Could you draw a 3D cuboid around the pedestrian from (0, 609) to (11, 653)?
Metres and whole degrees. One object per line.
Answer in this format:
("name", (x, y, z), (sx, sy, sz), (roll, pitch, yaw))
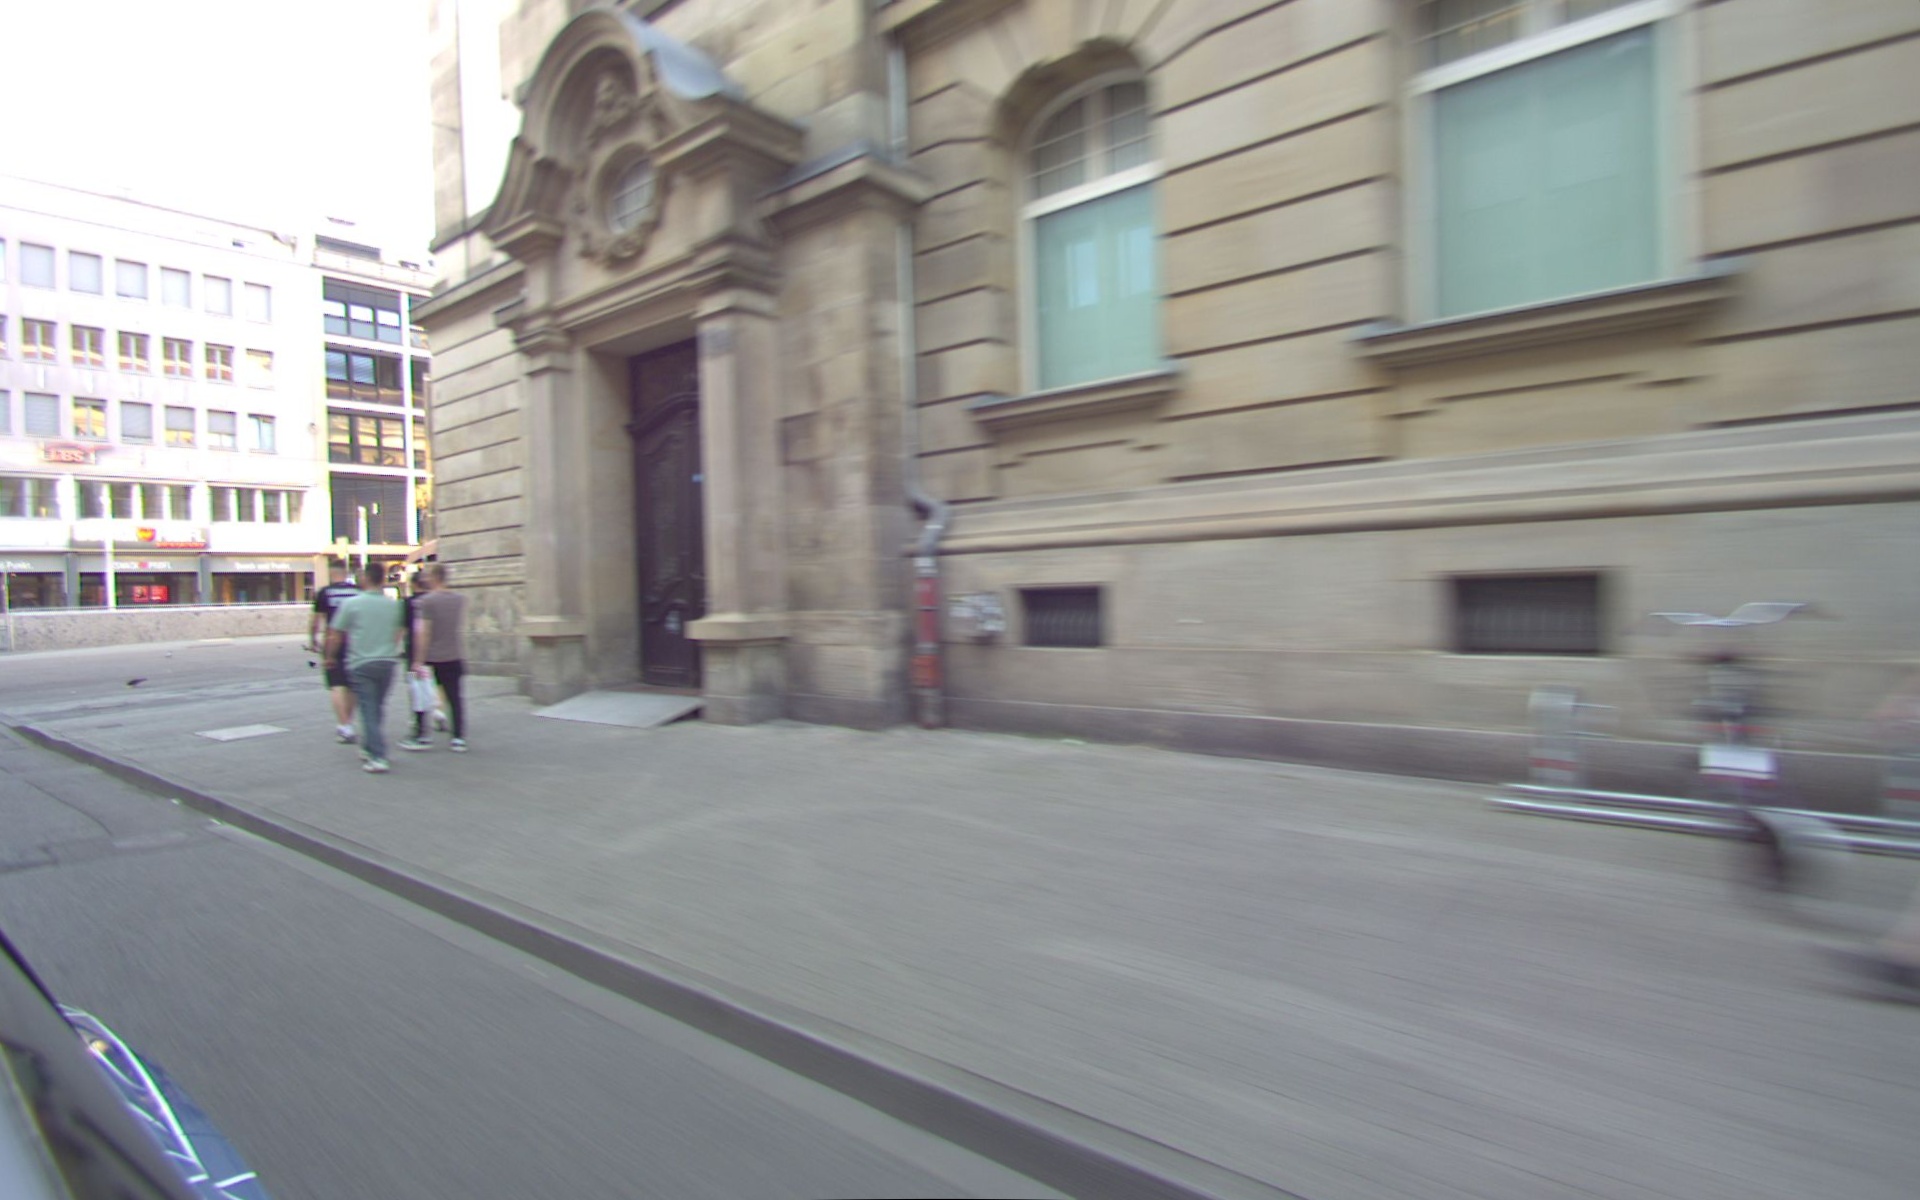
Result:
("pedestrian", (-37.801, 1.236, 39.854), (0.558, 1.721, 0.539), (-1, 1, 40))

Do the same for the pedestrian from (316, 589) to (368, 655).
("pedestrian", (-15.729, 0.555, 25.757), (0.737, 1.602, 0.855), (-1, 2, 38))

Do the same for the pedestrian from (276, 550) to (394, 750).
("pedestrian", (-6.174, 0.462, 9.990), (0.708, 1.843, 0.871), (-6, 3, -43))

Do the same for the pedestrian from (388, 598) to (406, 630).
("pedestrian", (-28.465, 0.720, 51.145), (0.488, 1.598, 0.570), (-2, 1, 8))

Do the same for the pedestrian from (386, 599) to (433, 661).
("pedestrian", (-12.234, 0.651, 22.498), (0.766, 1.283, 0.789), (-4, 2, -34))

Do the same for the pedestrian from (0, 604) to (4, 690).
("pedestrian", (-18.892, 0.910, 19.240), (0.734, 1.672, 0.752), (-1, -1, 5))

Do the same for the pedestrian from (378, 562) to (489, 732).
("pedestrian", (-5.500, 0.467, 10.566), (0.747, 1.654, 0.749), (-6, 3, -43))

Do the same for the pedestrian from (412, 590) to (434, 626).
("pedestrian", (-26.386, 0.374, 49.734), (0.681, 1.721, 0.699), (-1, 1, 45))

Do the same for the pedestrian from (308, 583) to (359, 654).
("pedestrian", (-16.285, 0.461, 26.329), (0.744, 1.774, 0.852), (-1, 2, 38))

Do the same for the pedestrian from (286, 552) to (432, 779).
("pedestrian", (-5.020, 0.510, 8.453), (0.839, 1.755, 0.718), (-1, 3, 43))

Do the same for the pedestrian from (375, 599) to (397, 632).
("pedestrian", (-29.063, 0.782, 51.253), (0.617, 1.665, 0.668), (-2, 1, 8))

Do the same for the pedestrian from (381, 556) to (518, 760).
("pedestrian", (-4.548, 0.486, 9.016), (0.858, 1.680, 0.721), (-1, 3, 43))

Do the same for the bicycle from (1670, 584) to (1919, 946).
("bicycle", (3.505, 0.536, 4.295), (0.728, 1.117, 2.003), (-1, 2, 33))
